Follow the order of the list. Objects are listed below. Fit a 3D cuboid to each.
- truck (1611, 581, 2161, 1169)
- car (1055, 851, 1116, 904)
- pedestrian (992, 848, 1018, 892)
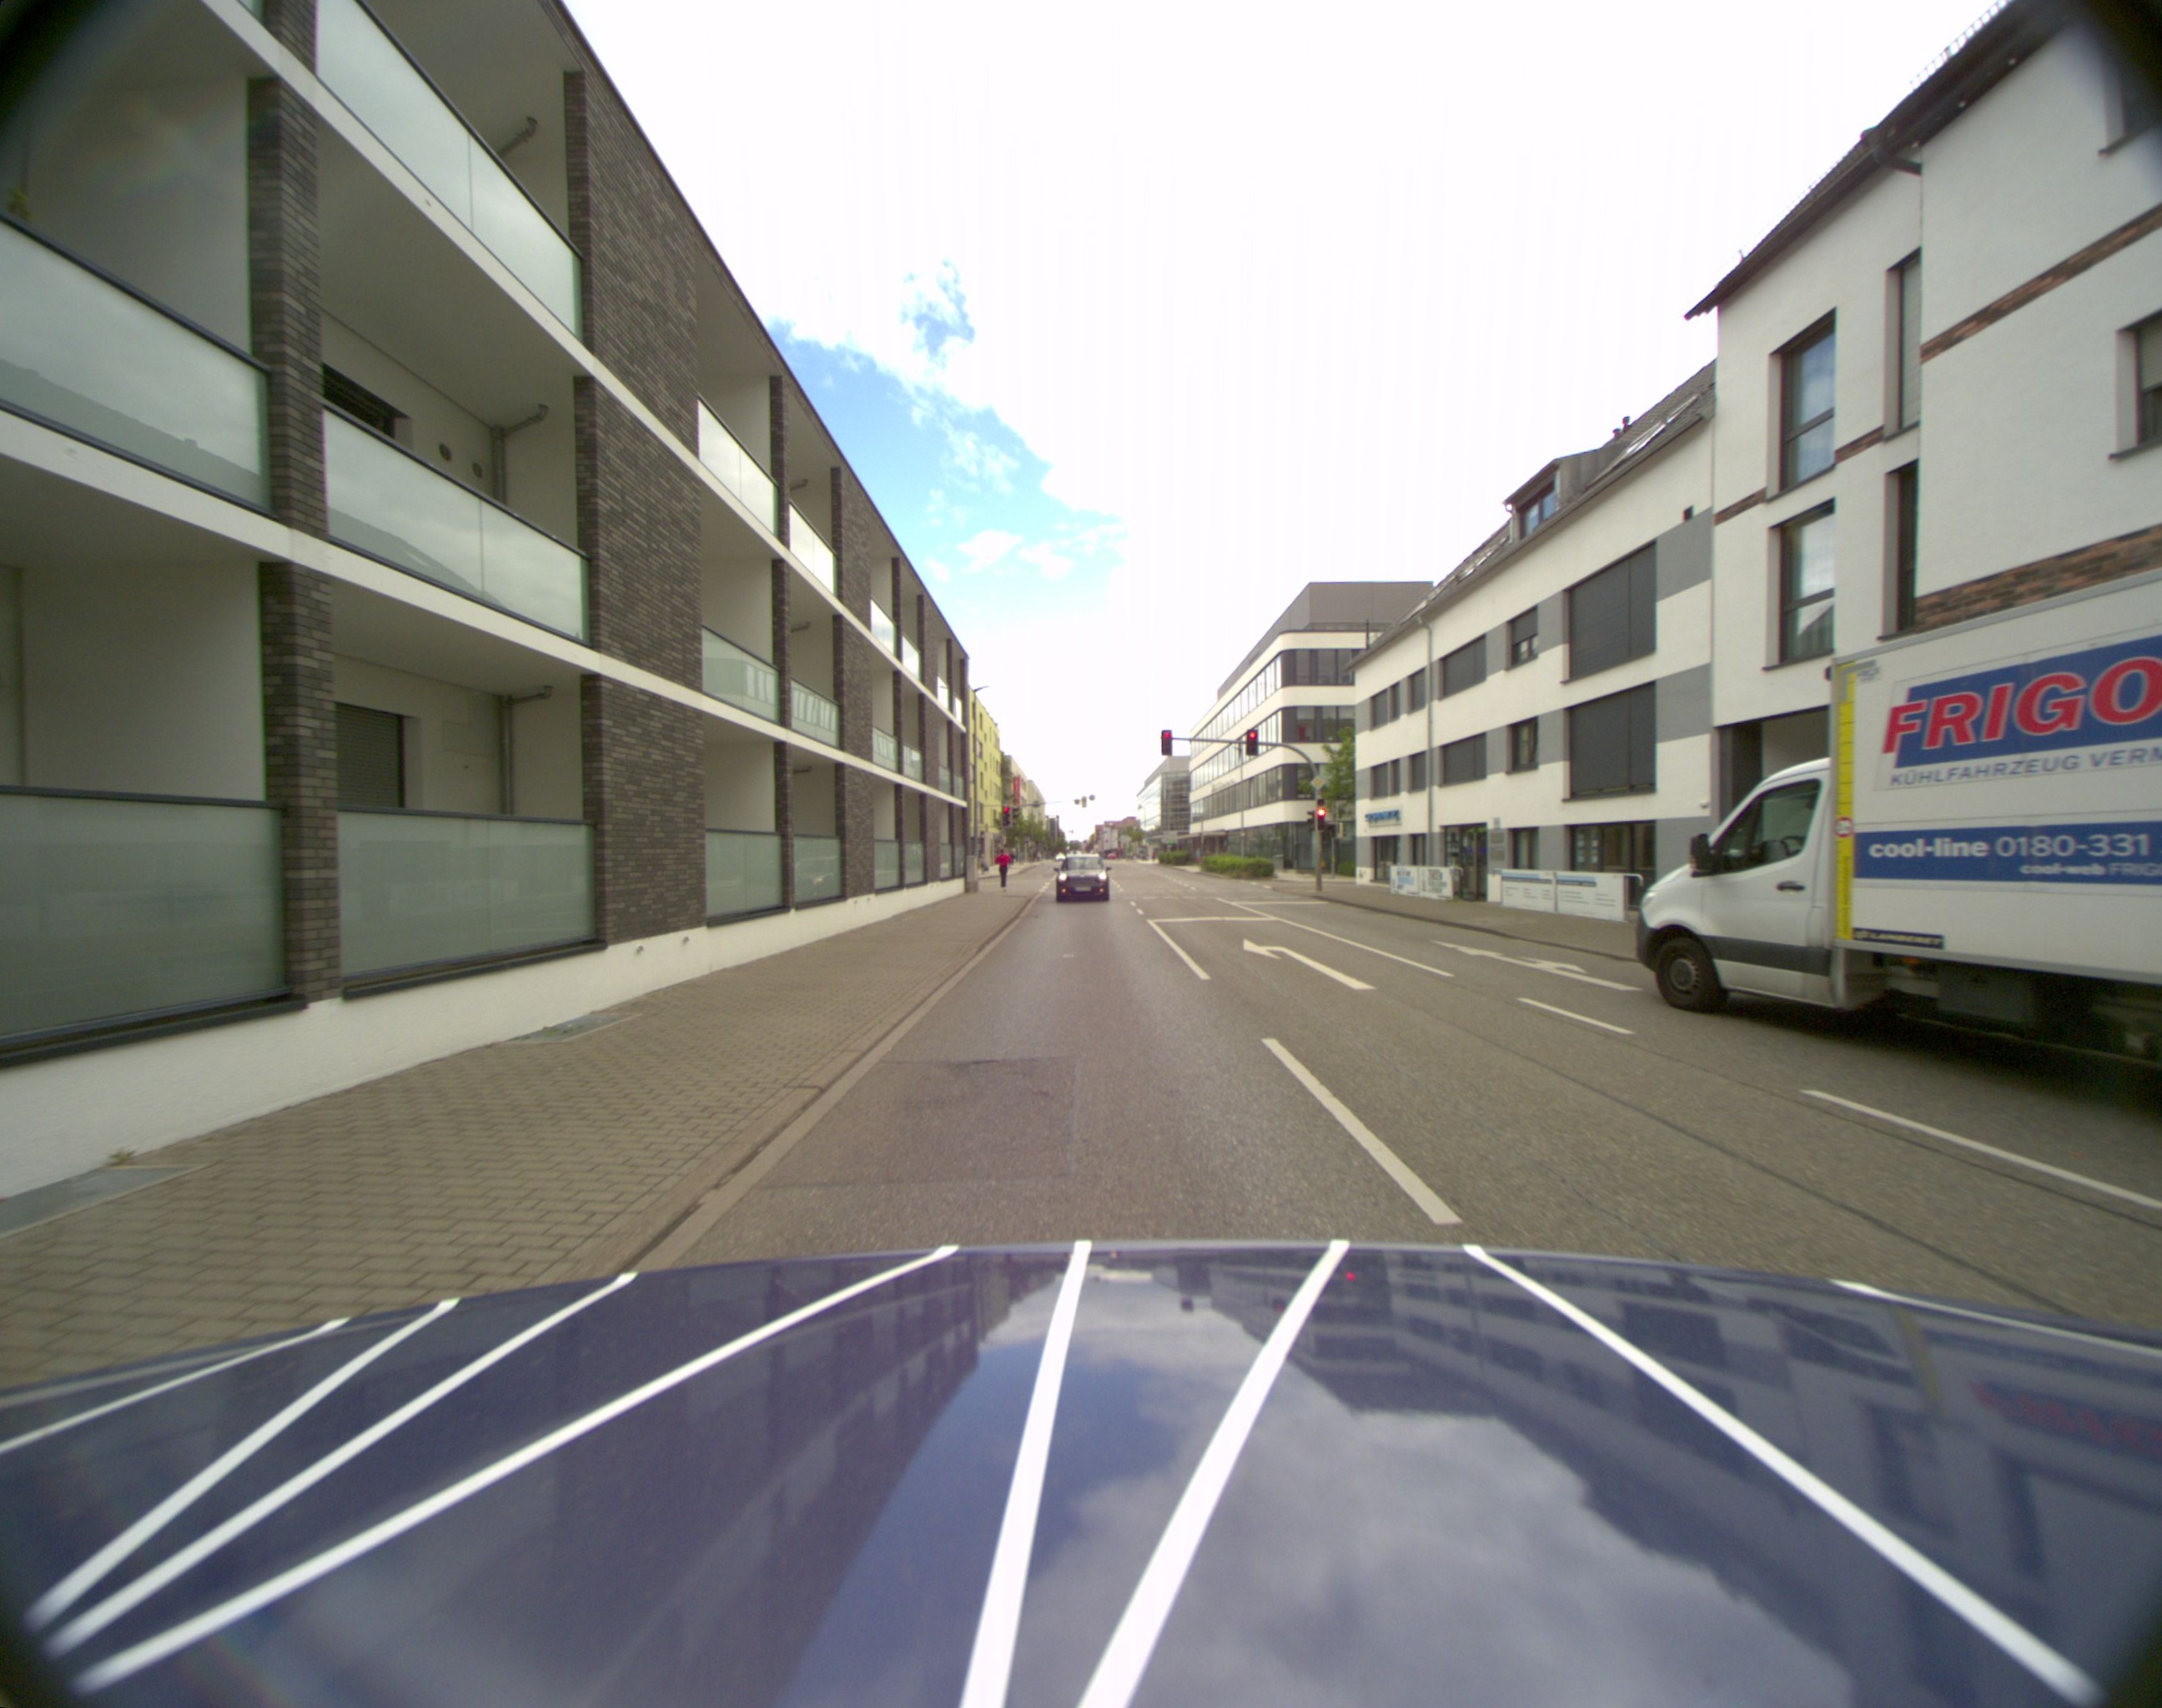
[{"bbox_3d":[6.668,0.069,4.802,2.468,2.954,5.964,-2,0,1],"label":"truck"},{"bbox_3d":[0.156,0.728,26.397,1.847,1.571,4.429,-3,0,0],"label":"car"},{"bbox_3d":[-3.066,0.639,30.810,0.938,1.732,0.901,-1,1,0],"label":"pedestrian"}]
